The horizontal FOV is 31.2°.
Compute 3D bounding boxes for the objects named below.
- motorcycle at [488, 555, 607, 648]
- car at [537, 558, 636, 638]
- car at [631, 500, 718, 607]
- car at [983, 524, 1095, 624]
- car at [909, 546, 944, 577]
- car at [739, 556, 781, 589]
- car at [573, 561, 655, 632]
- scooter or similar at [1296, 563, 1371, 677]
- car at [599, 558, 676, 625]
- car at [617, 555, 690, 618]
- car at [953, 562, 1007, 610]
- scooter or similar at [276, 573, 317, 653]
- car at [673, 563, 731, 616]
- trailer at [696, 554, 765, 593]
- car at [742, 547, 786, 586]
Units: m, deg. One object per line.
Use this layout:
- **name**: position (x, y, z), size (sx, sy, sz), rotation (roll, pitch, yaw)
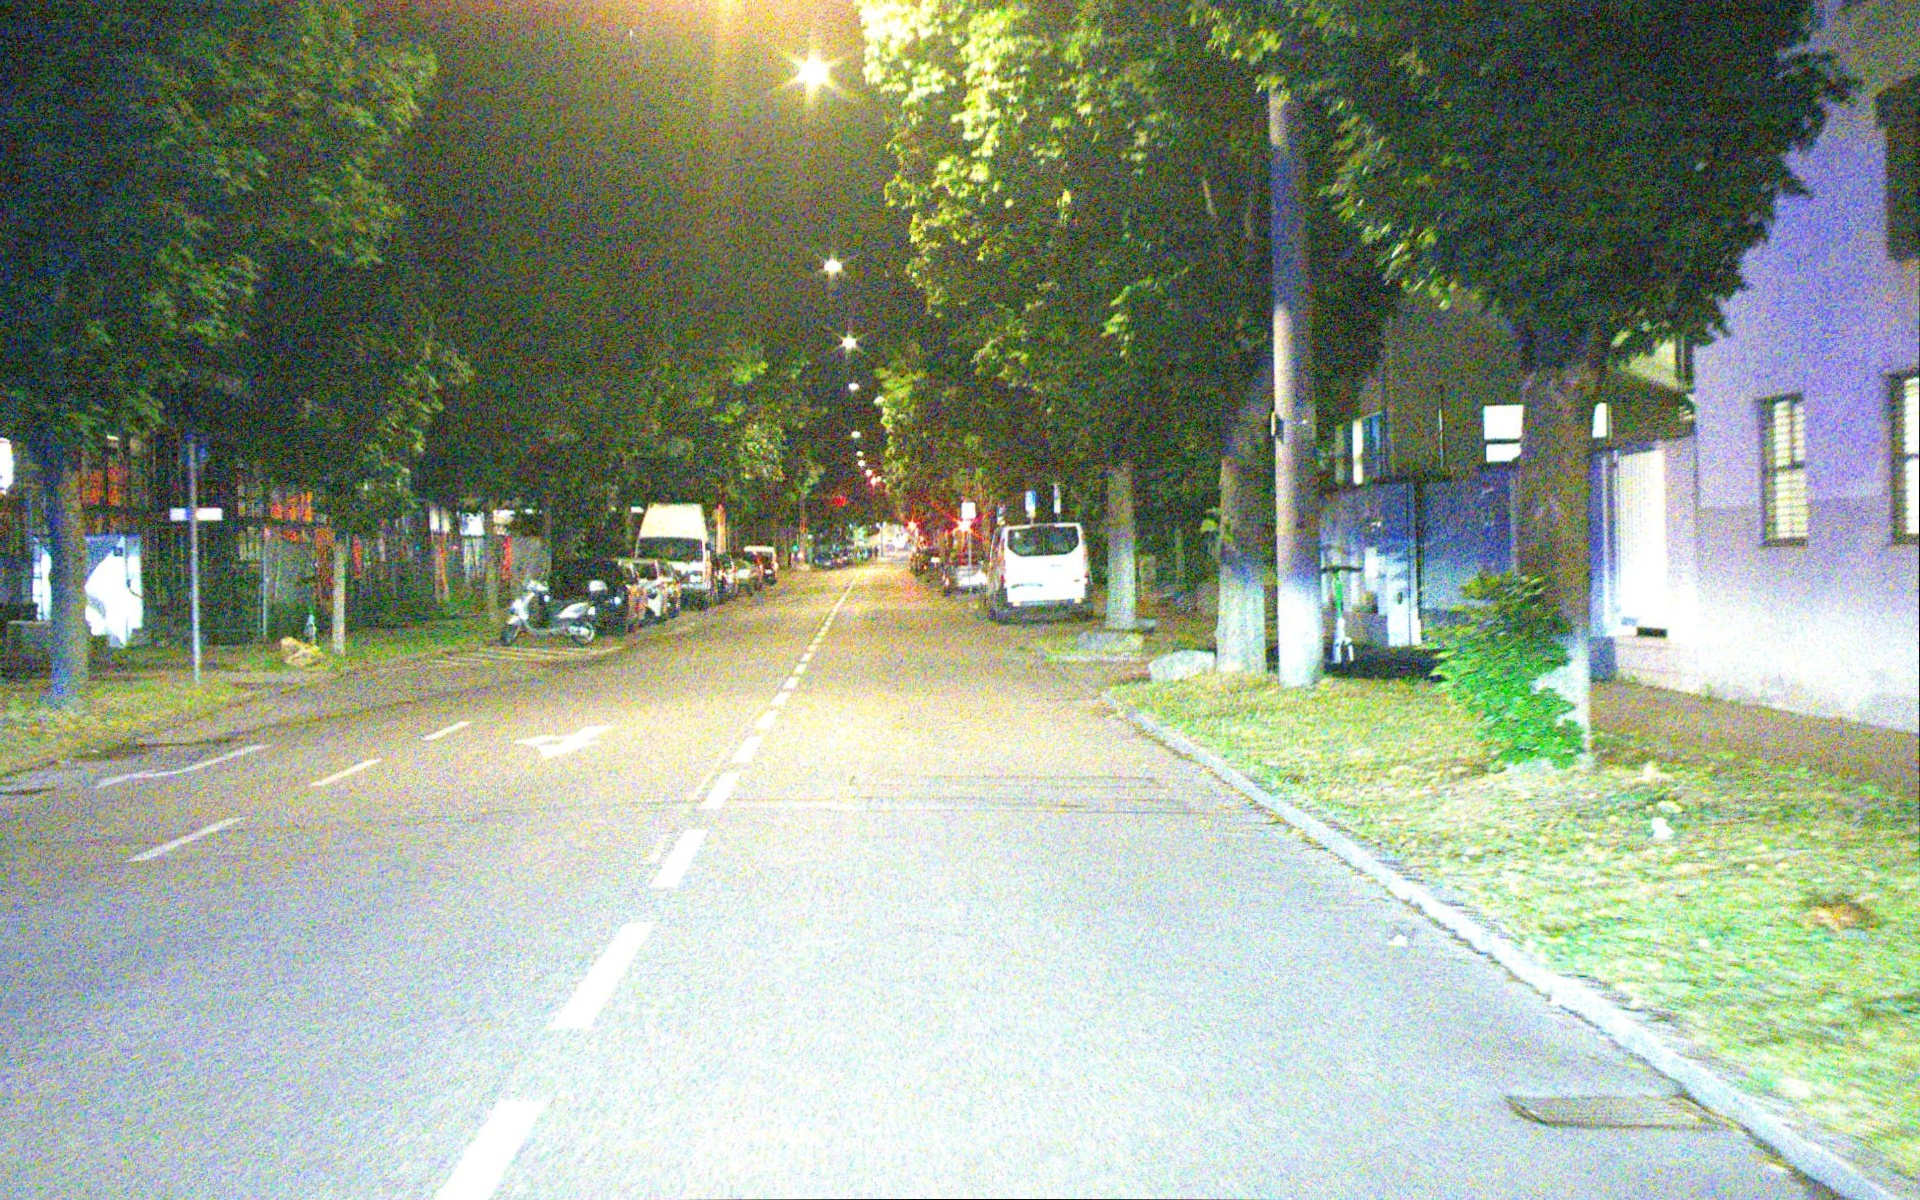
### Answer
- **motorcycle**: position (-7.049, 0.025, 58.696), size (1.901, 1.544, 0.639), rotation (1, 0, -21)
- **car**: position (-7.359, -0.058, 68.038), size (1.642, 1.499, 3.904), rotation (1, 1, -2)
- **car**: position (-7.945, -1.304, 95.948), size (2.178, 2.899, 4.910), rotation (1, 1, -2)
- **car**: position (1.578, -0.555, 70.152), size (1.950, 1.957, 4.604), rotation (0, 1, -3)
- **car**: position (-1.774, -2.042, 182.914), size (1.853, 1.648, 4.209), rotation (0, 1, -1)
- **car**: position (-9.405, -1.314, 162.011), size (1.700, 1.428, 3.828), rotation (2, 1, 0)
- **car**: position (-7.346, -0.102, 73.249), size (1.444, 1.425, 3.904), rotation (2, 1, -2)
- **scooter or similar**: position (4.037, 0.231, 37.241), size (0.547, 1.199, 1.911), rotation (0, -1, -1)
- **car**: position (-7.407, -0.212, 79.124), size (1.547, 1.450, 3.368), rotation (1, 1, -2)
- **car**: position (-7.466, -0.351, 83.921), size (1.645, 1.499, 3.861), rotation (0, 1, -3)
- **car**: position (0.668, -0.475, 112.253), size (1.668, 1.424, 4.148), rotation (-3, 1, 1)
- **scooter or similar**: position (-10.213, 0.196, 52.936), size (0.367, 1.200, 1.427), rotation (-1, 0, -1)
- **car**: position (-8.025, -0.351, 107.155), size (1.741, 1.601, 4.299), rotation (0, 1, -3)
- **trailer**: position (-8.343, -0.965, 125.497), size (2.110, 1.330, 5.435), rotation (2, 1, 0)
- **car**: position (-9.494, -1.628, 166.402), size (1.822, 1.805, 4.210), rotation (2, 1, 0)
